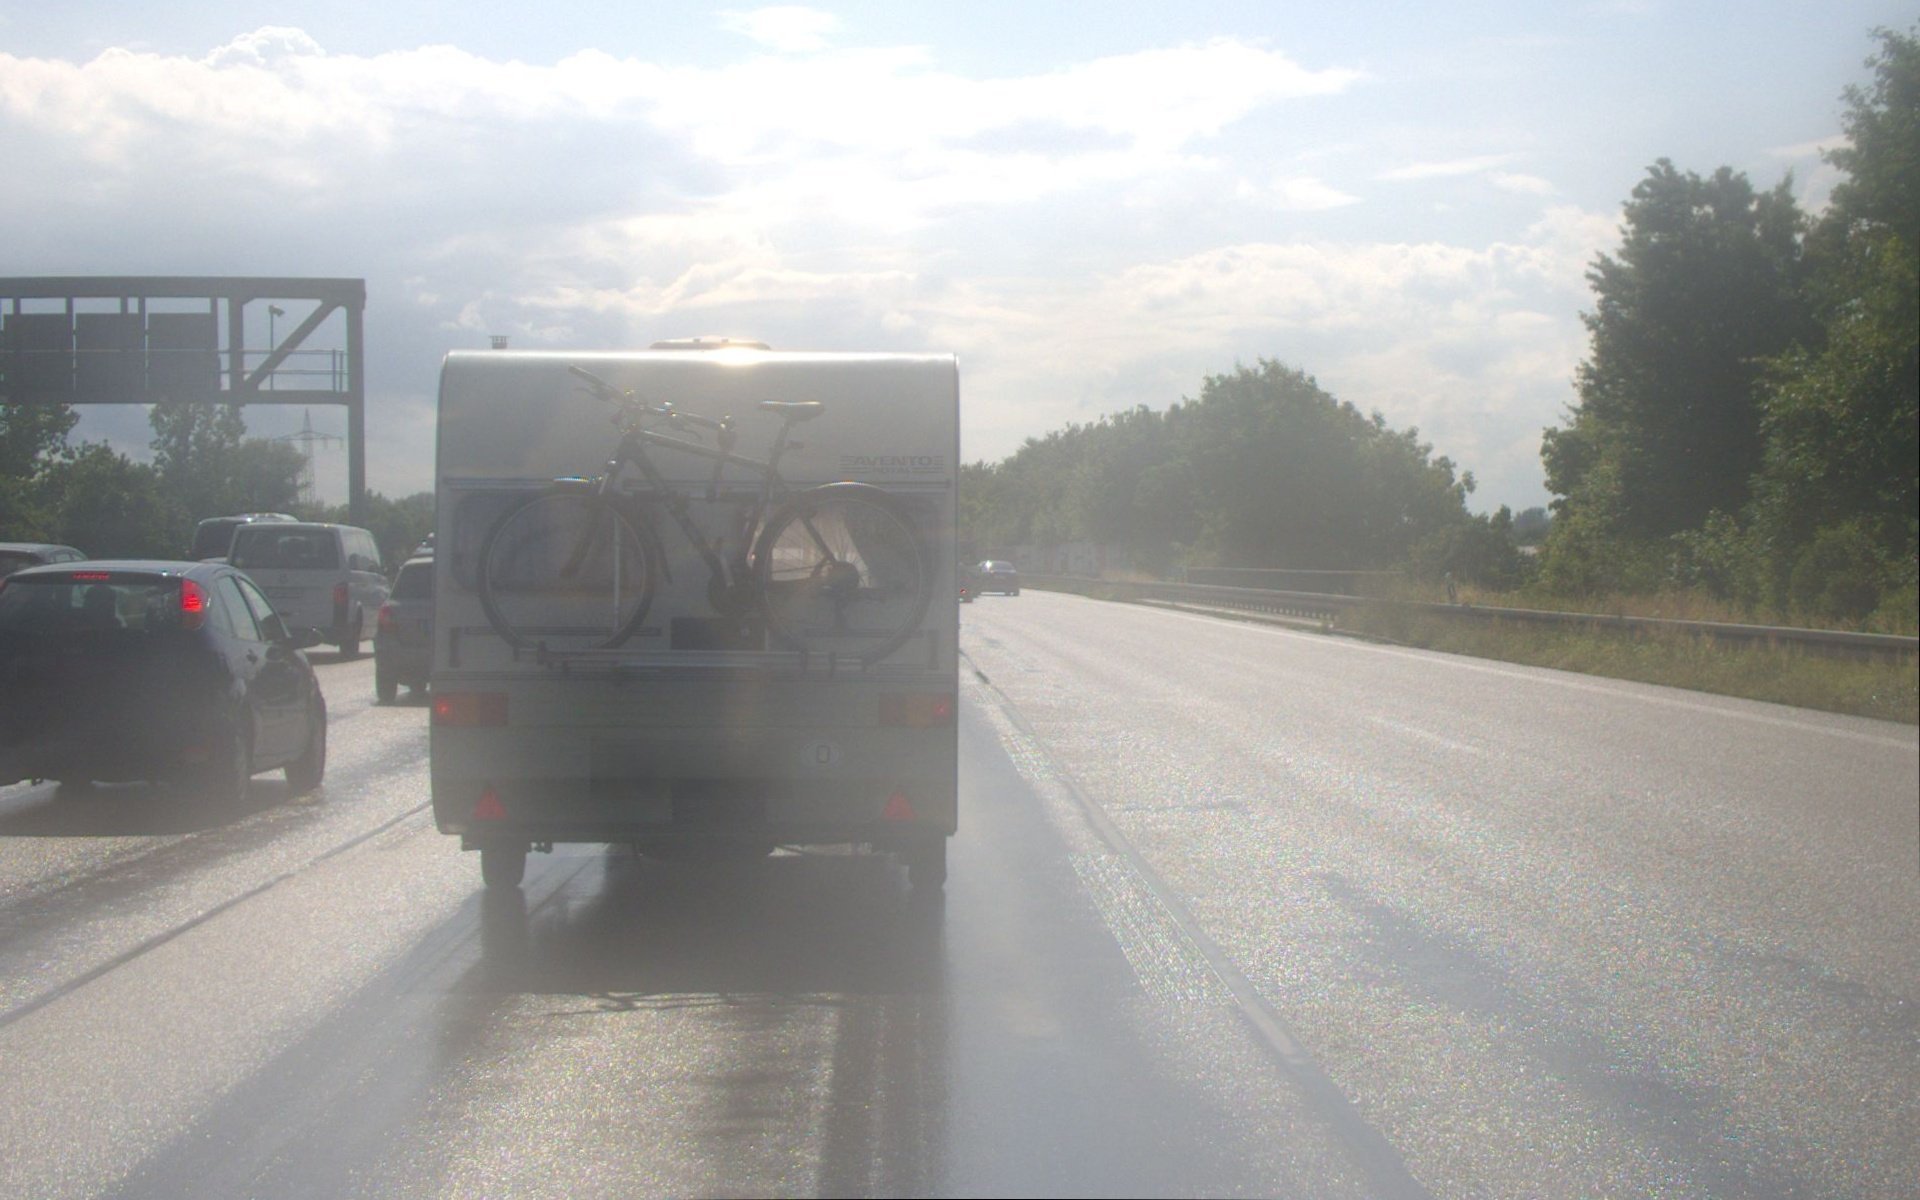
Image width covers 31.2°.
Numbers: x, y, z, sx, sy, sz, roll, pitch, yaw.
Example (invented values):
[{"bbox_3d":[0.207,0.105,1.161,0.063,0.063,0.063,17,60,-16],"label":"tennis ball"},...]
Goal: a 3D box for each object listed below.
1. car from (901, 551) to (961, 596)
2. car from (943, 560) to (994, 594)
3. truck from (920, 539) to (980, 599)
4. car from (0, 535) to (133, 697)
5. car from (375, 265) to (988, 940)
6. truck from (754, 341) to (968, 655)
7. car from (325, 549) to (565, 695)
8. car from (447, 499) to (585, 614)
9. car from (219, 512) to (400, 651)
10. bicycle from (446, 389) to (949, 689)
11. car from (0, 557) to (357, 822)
[{"bbox_3d":[-1.048,-0.936,122.641,1.835,1.552,4.001,1,0,-5],"label":"car"},{"bbox_3d":[0.352,-1.017,151.215,1.876,1.489,4.001,1,0,-5],"label":"car"},{"bbox_3d":[-0.423,-1.295,141.703,2.415,2.435,6.053,0,1,0],"label":"truck"},{"bbox_3d":[-9.830,0.122,35.487,1.783,1.573,3.916,0,1,-2],"label":"car"},{"bbox_3d":[-1.121,-0.007,15.714,2.410,2.665,4.000,1,0,0],"label":"car"},{"bbox_3d":[-1.653,-1.572,56.201,3.146,4.610,10.737,0,1,-2],"label":"truck"},{"bbox_3d":[-5.394,0.195,36.442,1.987,1.453,3.827,0,1,0],"label":"car"},{"bbox_3d":[-6.633,-0.650,51.637,1.689,1.656,3.641,0,1,-1],"label":"car"},{"bbox_3d":[-9.503,-0.292,50.579,1.848,1.927,5.017,0,1,-2],"label":"car"},{"bbox_3d":[-1.020,-0.240,13.520,1.934,1.137,0.384,1,0,1],"label":"bicycle"},{"bbox_3d":[-4.903,0.471,20.992,1.758,1.438,4.000,0,1,0],"label":"car"}]
